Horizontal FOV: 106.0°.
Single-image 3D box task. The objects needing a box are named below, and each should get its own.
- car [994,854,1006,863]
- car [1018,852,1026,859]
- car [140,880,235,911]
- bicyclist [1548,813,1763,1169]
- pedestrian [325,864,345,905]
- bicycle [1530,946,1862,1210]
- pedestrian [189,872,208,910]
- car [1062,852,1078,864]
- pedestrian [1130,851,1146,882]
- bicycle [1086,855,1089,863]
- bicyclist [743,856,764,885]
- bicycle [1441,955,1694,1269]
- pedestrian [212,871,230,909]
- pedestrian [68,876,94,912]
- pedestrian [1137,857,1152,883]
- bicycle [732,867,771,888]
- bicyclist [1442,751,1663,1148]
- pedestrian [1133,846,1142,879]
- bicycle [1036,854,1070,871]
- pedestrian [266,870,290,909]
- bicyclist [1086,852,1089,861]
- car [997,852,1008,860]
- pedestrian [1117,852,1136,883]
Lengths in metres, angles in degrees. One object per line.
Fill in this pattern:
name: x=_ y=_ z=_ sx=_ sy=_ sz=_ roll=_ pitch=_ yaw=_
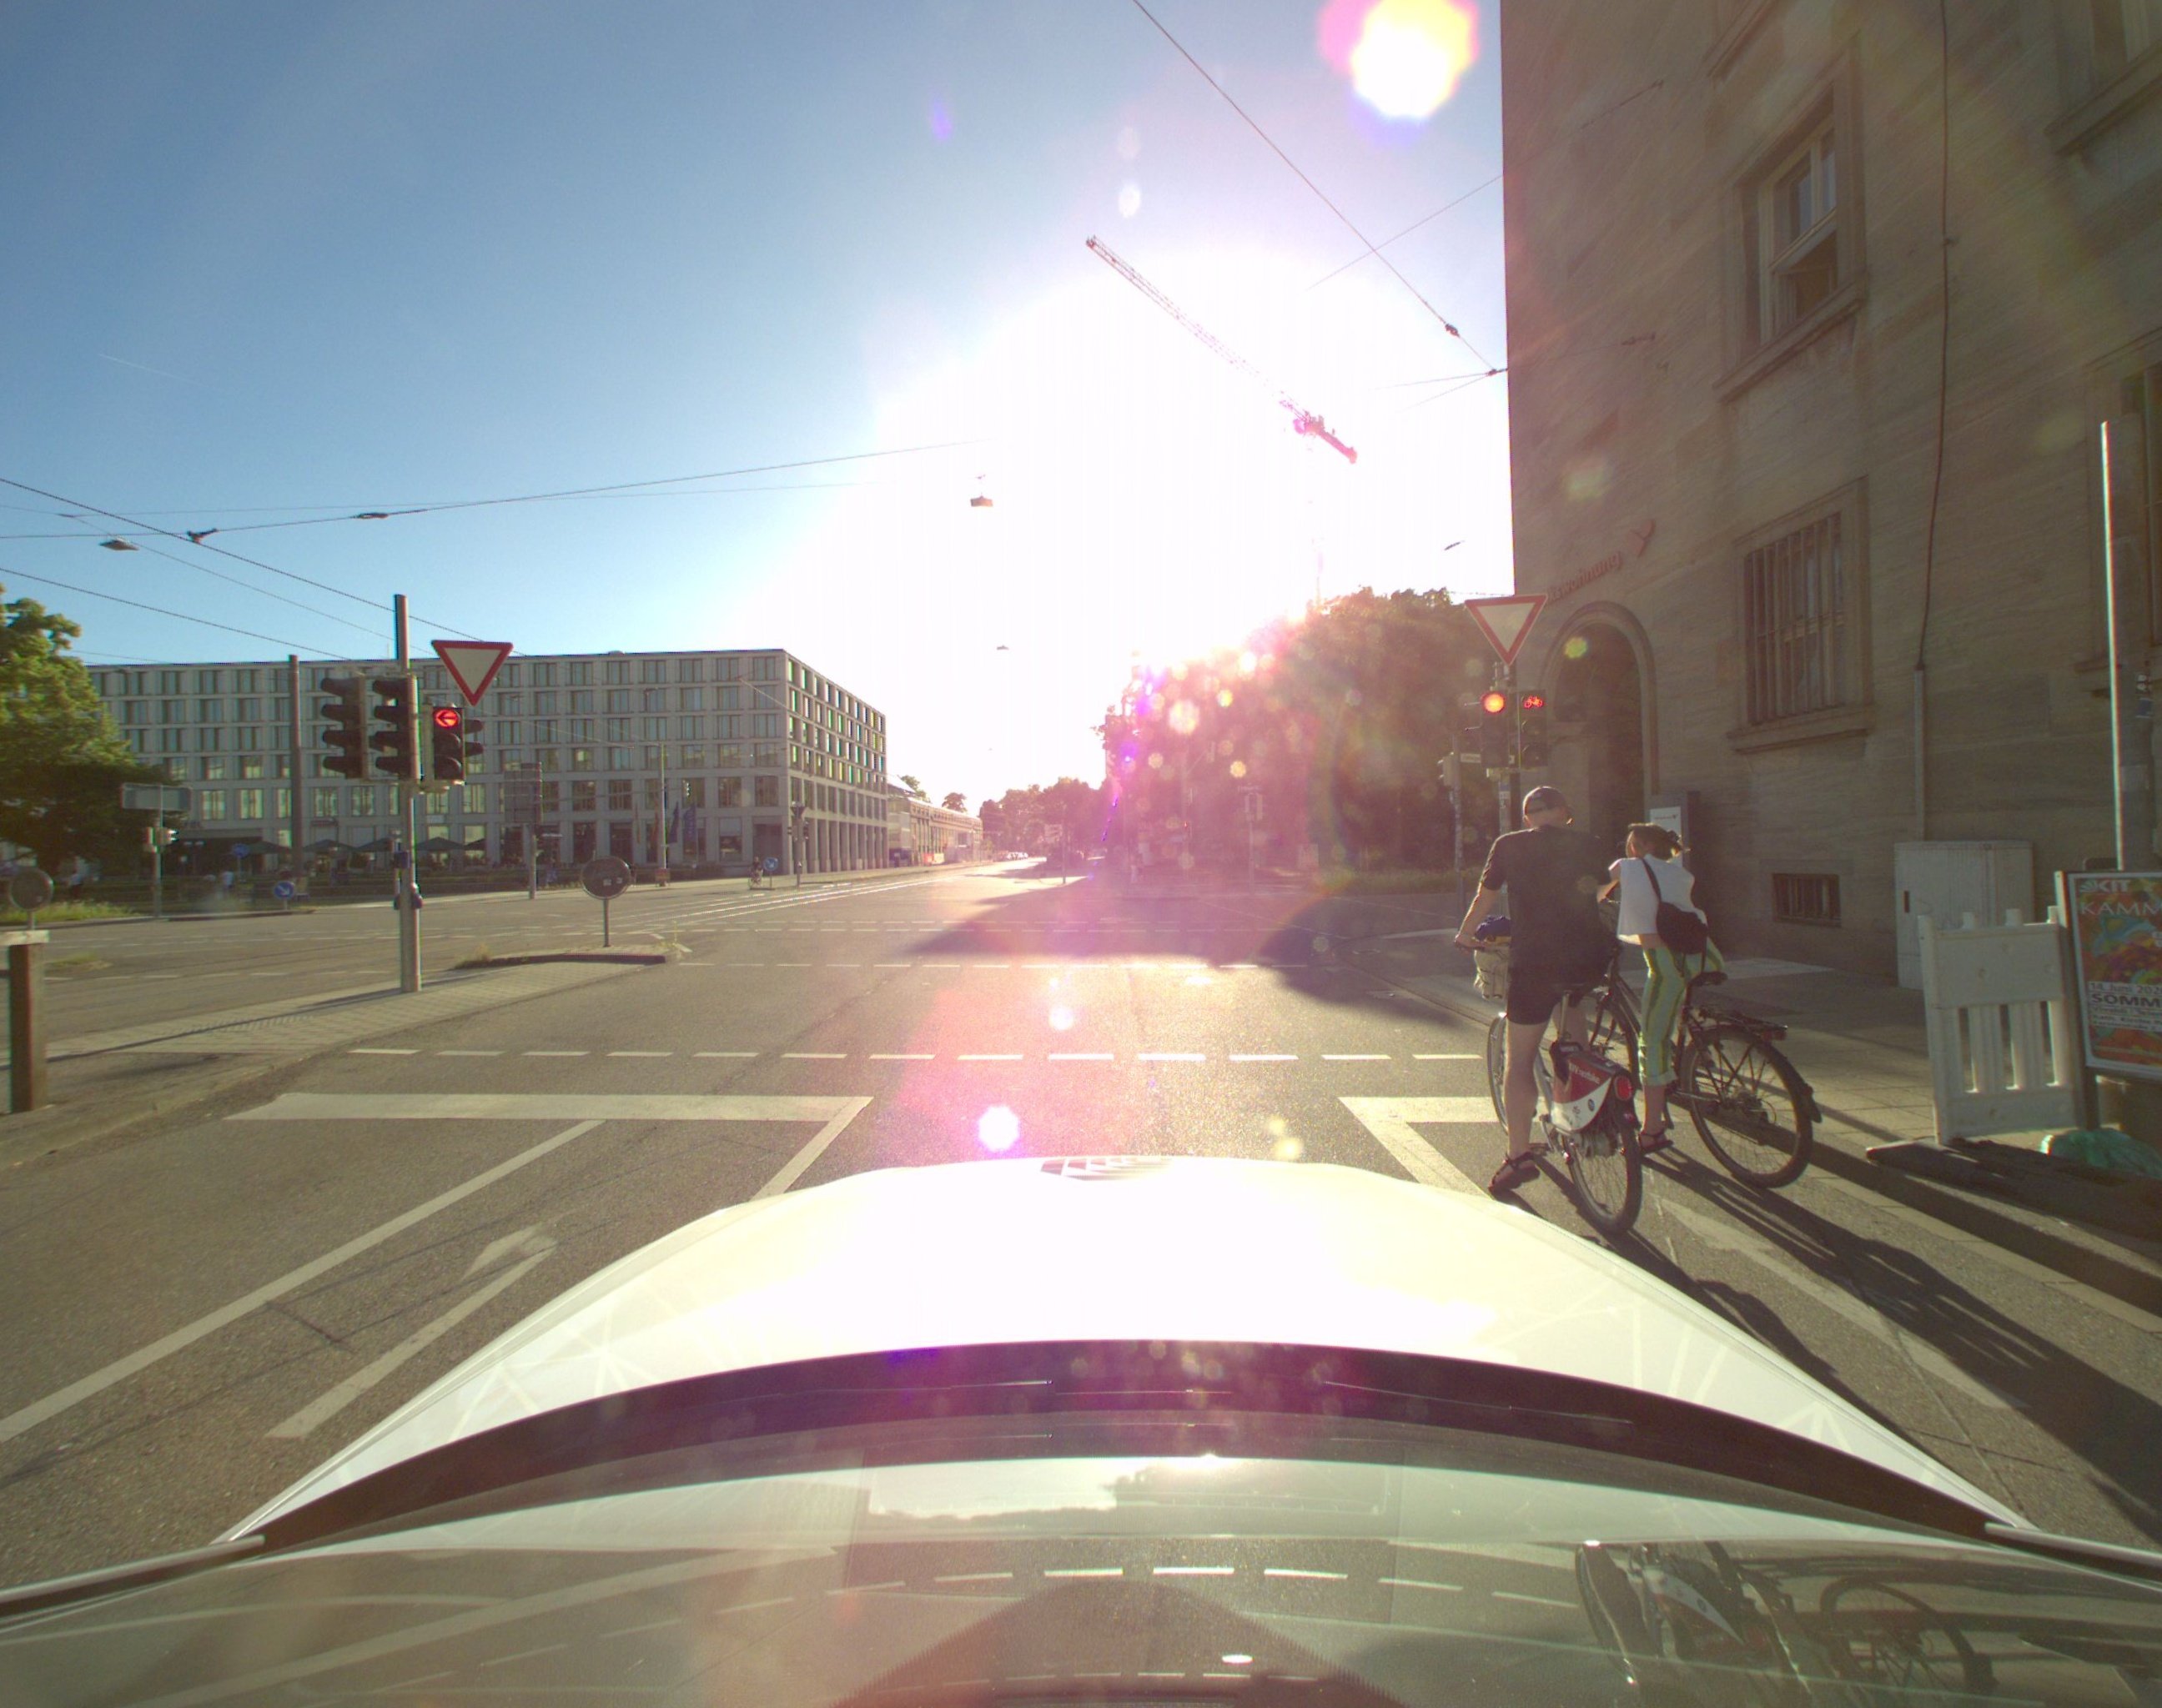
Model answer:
car: x=-15.625 y=0.897 z=156.677 sx=1.724 sy=1.653 sz=4.002 roll=-2 pitch=0 yaw=2
car: x=-14.040 y=0.319 z=195.177 sx=1.478 sy=1.750 sz=4.002 roll=-2 pitch=0 yaw=2
car: x=-46.850 y=2.145 z=42.729 sx=3.179 sy=1.438 sz=1.469 roll=-2 pitch=0 yaw=-4
bicyclist: x=2.965 y=0.651 z=4.287 sx=0.519 sy=1.679 sz=0.860 roll=-2 pitch=0 yaw=5
pedestrian: x=-42.365 y=1.745 z=46.261 sx=0.568 sy=2.280 sz=0.532 roll=-2 pitch=0 yaw=-5
bicycle: x=3.098 y=1.046 z=4.372 sx=0.424 sy=0.876 sz=1.953 roll=-2 pitch=0 yaw=5
pedestrian: x=-47.184 y=1.968 z=43.549 sx=0.490 sy=2.013 sz=0.493 roll=-2 pitch=0 yaw=14
car: x=-1.226 y=0.430 z=92.744 sx=1.814 sy=1.279 sz=3.999 roll=-2 pitch=0 yaw=0
pedestrian: x=3.091 y=0.675 z=44.232 sx=0.792 sy=1.639 sz=0.534 roll=-2 pitch=0 yaw=4
bicycle: x=0.811 y=0.615 z=98.726 sx=0.323 sy=0.868 sz=1.483 roll=-2 pitch=0 yaw=1
bicyclist: x=-19.381 y=0.976 z=48.223 sx=0.872 sy=1.641 sz=0.822 roll=-2 pitch=0 yaw=3
bicycle: x=2.229 y=1.074 z=3.992 sx=0.387 sy=0.905 sz=1.956 roll=-2 pitch=0 yaw=10
pedestrian: x=-46.973 y=1.966 z=44.478 sx=0.490 sy=2.013 sz=0.493 roll=-2 pitch=0 yaw=14
pedestrian: x=-54.532 y=2.178 z=44.420 sx=0.557 sy=1.903 sz=0.684 roll=-2 pitch=0 yaw=10
pedestrian: x=3.408 y=0.862 z=43.520 sx=0.749 sy=1.332 sz=0.743 roll=-2 pitch=0 yaw=3
bicycle: x=-19.415 y=1.375 z=48.075 sx=0.872 sy=1.121 sz=3.015 roll=-2 pitch=0 yaw=3
bicyclist: x=2.162 y=0.411 z=3.819 sx=0.666 sy=1.678 sz=0.658 roll=-2 pitch=0 yaw=10
pedestrian: x=3.098 y=0.464 z=44.805 sx=0.358 sy=1.804 sz=0.508 roll=-2 pitch=0 yaw=14
bicycle: x=-2.322 y=0.725 z=67.361 sx=2.728 sy=1.367 sz=0.633 roll=-1 pitch=-1 yaw=12
pedestrian: x=-43.861 y=1.949 z=44.496 sx=0.648 sy=2.069 sz=0.649 roll=-2 pitch=-3 yaw=-5
bicyclist: x=0.781 y=0.335 z=98.600 sx=0.317 sy=1.127 sz=0.291 roll=-2 pitch=0 yaw=3
car: x=-15.487 y=0.381 z=160.826 sx=1.724 sy=1.653 sz=4.002 roll=-2 pitch=0 yaw=2
pedestrian: x=2.453 y=0.717 z=43.692 sx=0.980 sy=1.587 sz=0.661 roll=-2 pitch=-1 yaw=3
